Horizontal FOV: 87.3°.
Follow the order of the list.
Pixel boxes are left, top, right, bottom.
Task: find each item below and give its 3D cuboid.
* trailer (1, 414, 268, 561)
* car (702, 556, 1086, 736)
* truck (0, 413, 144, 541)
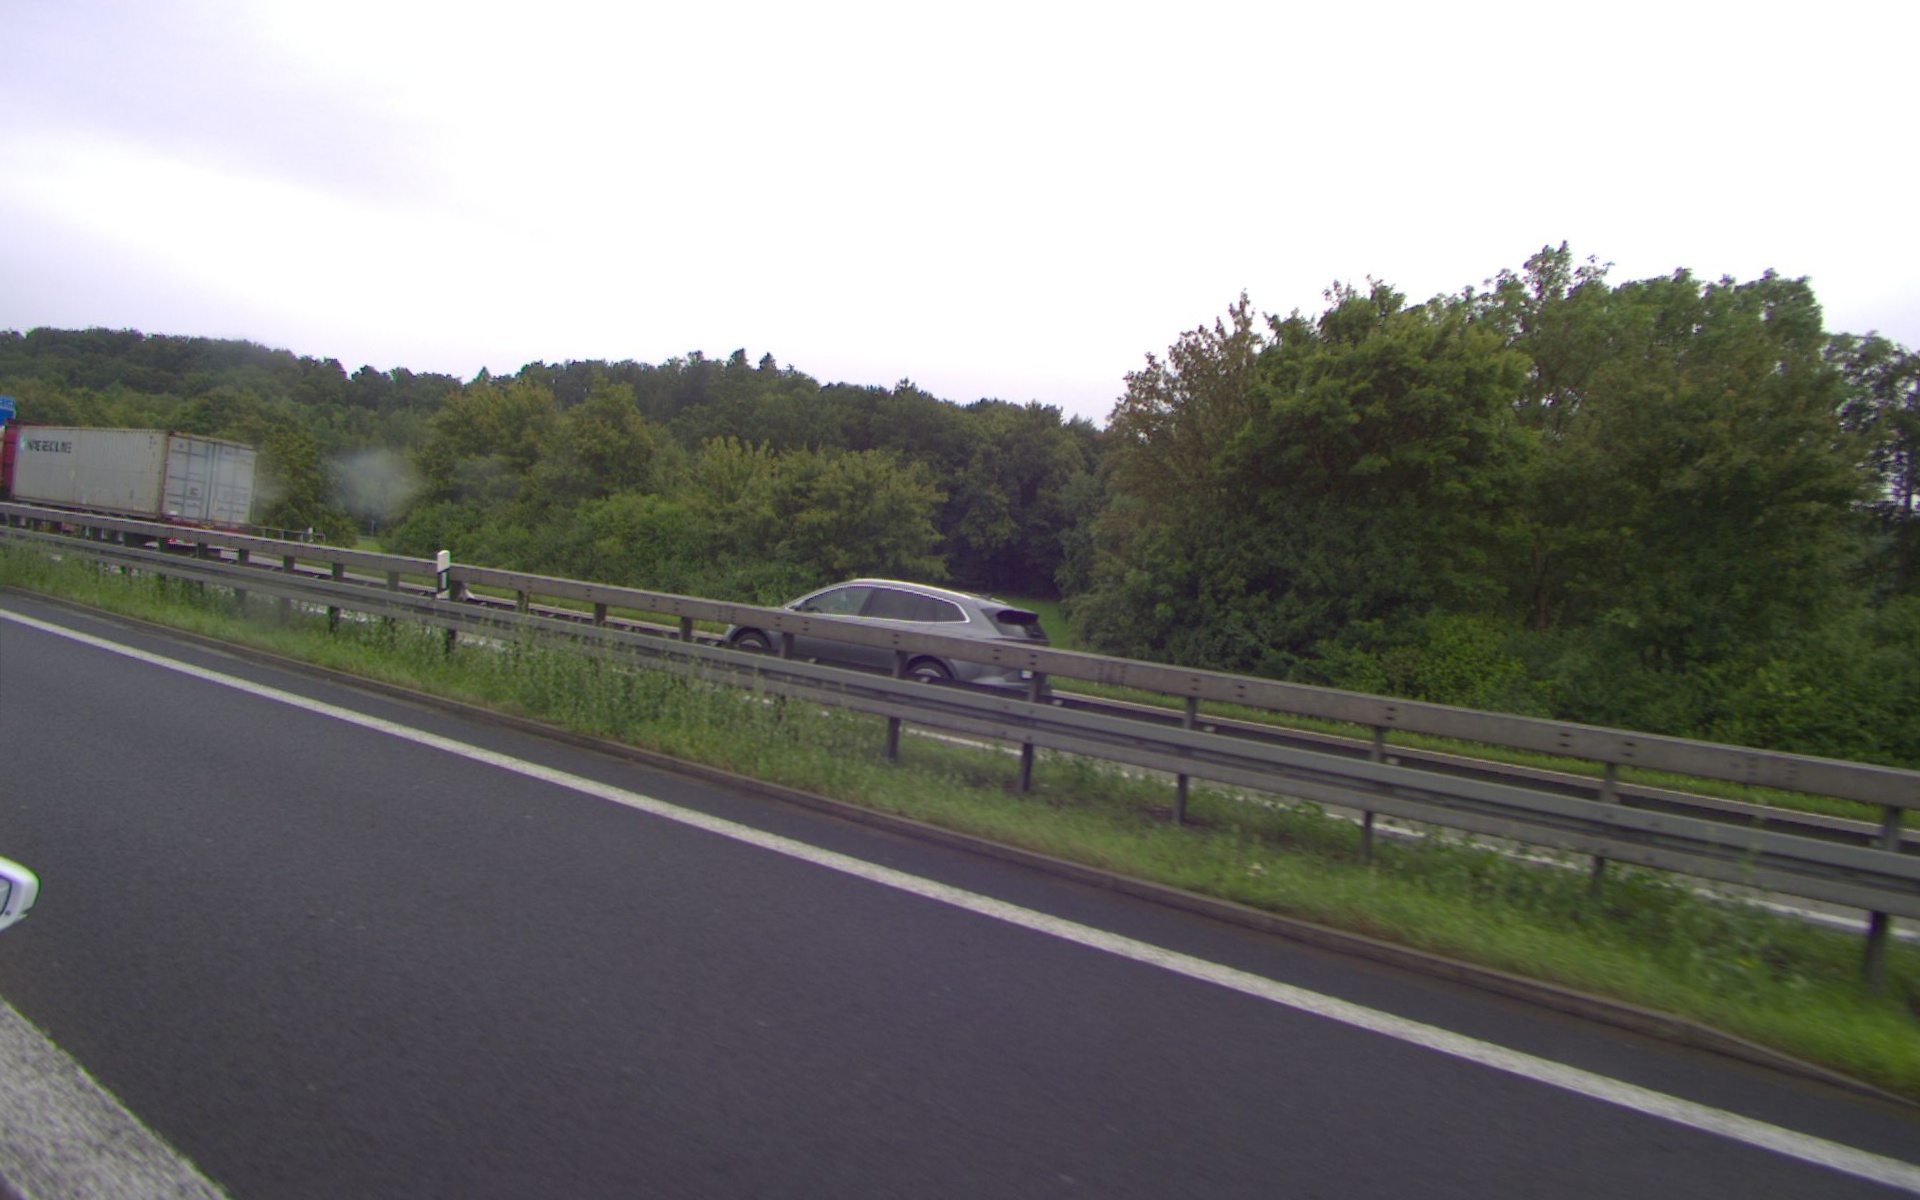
[{"bbox_3d":[-27.532,-3.872,33.206,12.282,3.941,2.608,6,-1,31],"label":"trailer"},{"bbox_3d":[-0.918,0.520,12.866,4.565,1.629,1.773,6,-1,31],"label":"car"},{"bbox_3d":[-32.592,-4.472,36.273,6.285,3.931,2.620,7,-1,31],"label":"truck"}]
